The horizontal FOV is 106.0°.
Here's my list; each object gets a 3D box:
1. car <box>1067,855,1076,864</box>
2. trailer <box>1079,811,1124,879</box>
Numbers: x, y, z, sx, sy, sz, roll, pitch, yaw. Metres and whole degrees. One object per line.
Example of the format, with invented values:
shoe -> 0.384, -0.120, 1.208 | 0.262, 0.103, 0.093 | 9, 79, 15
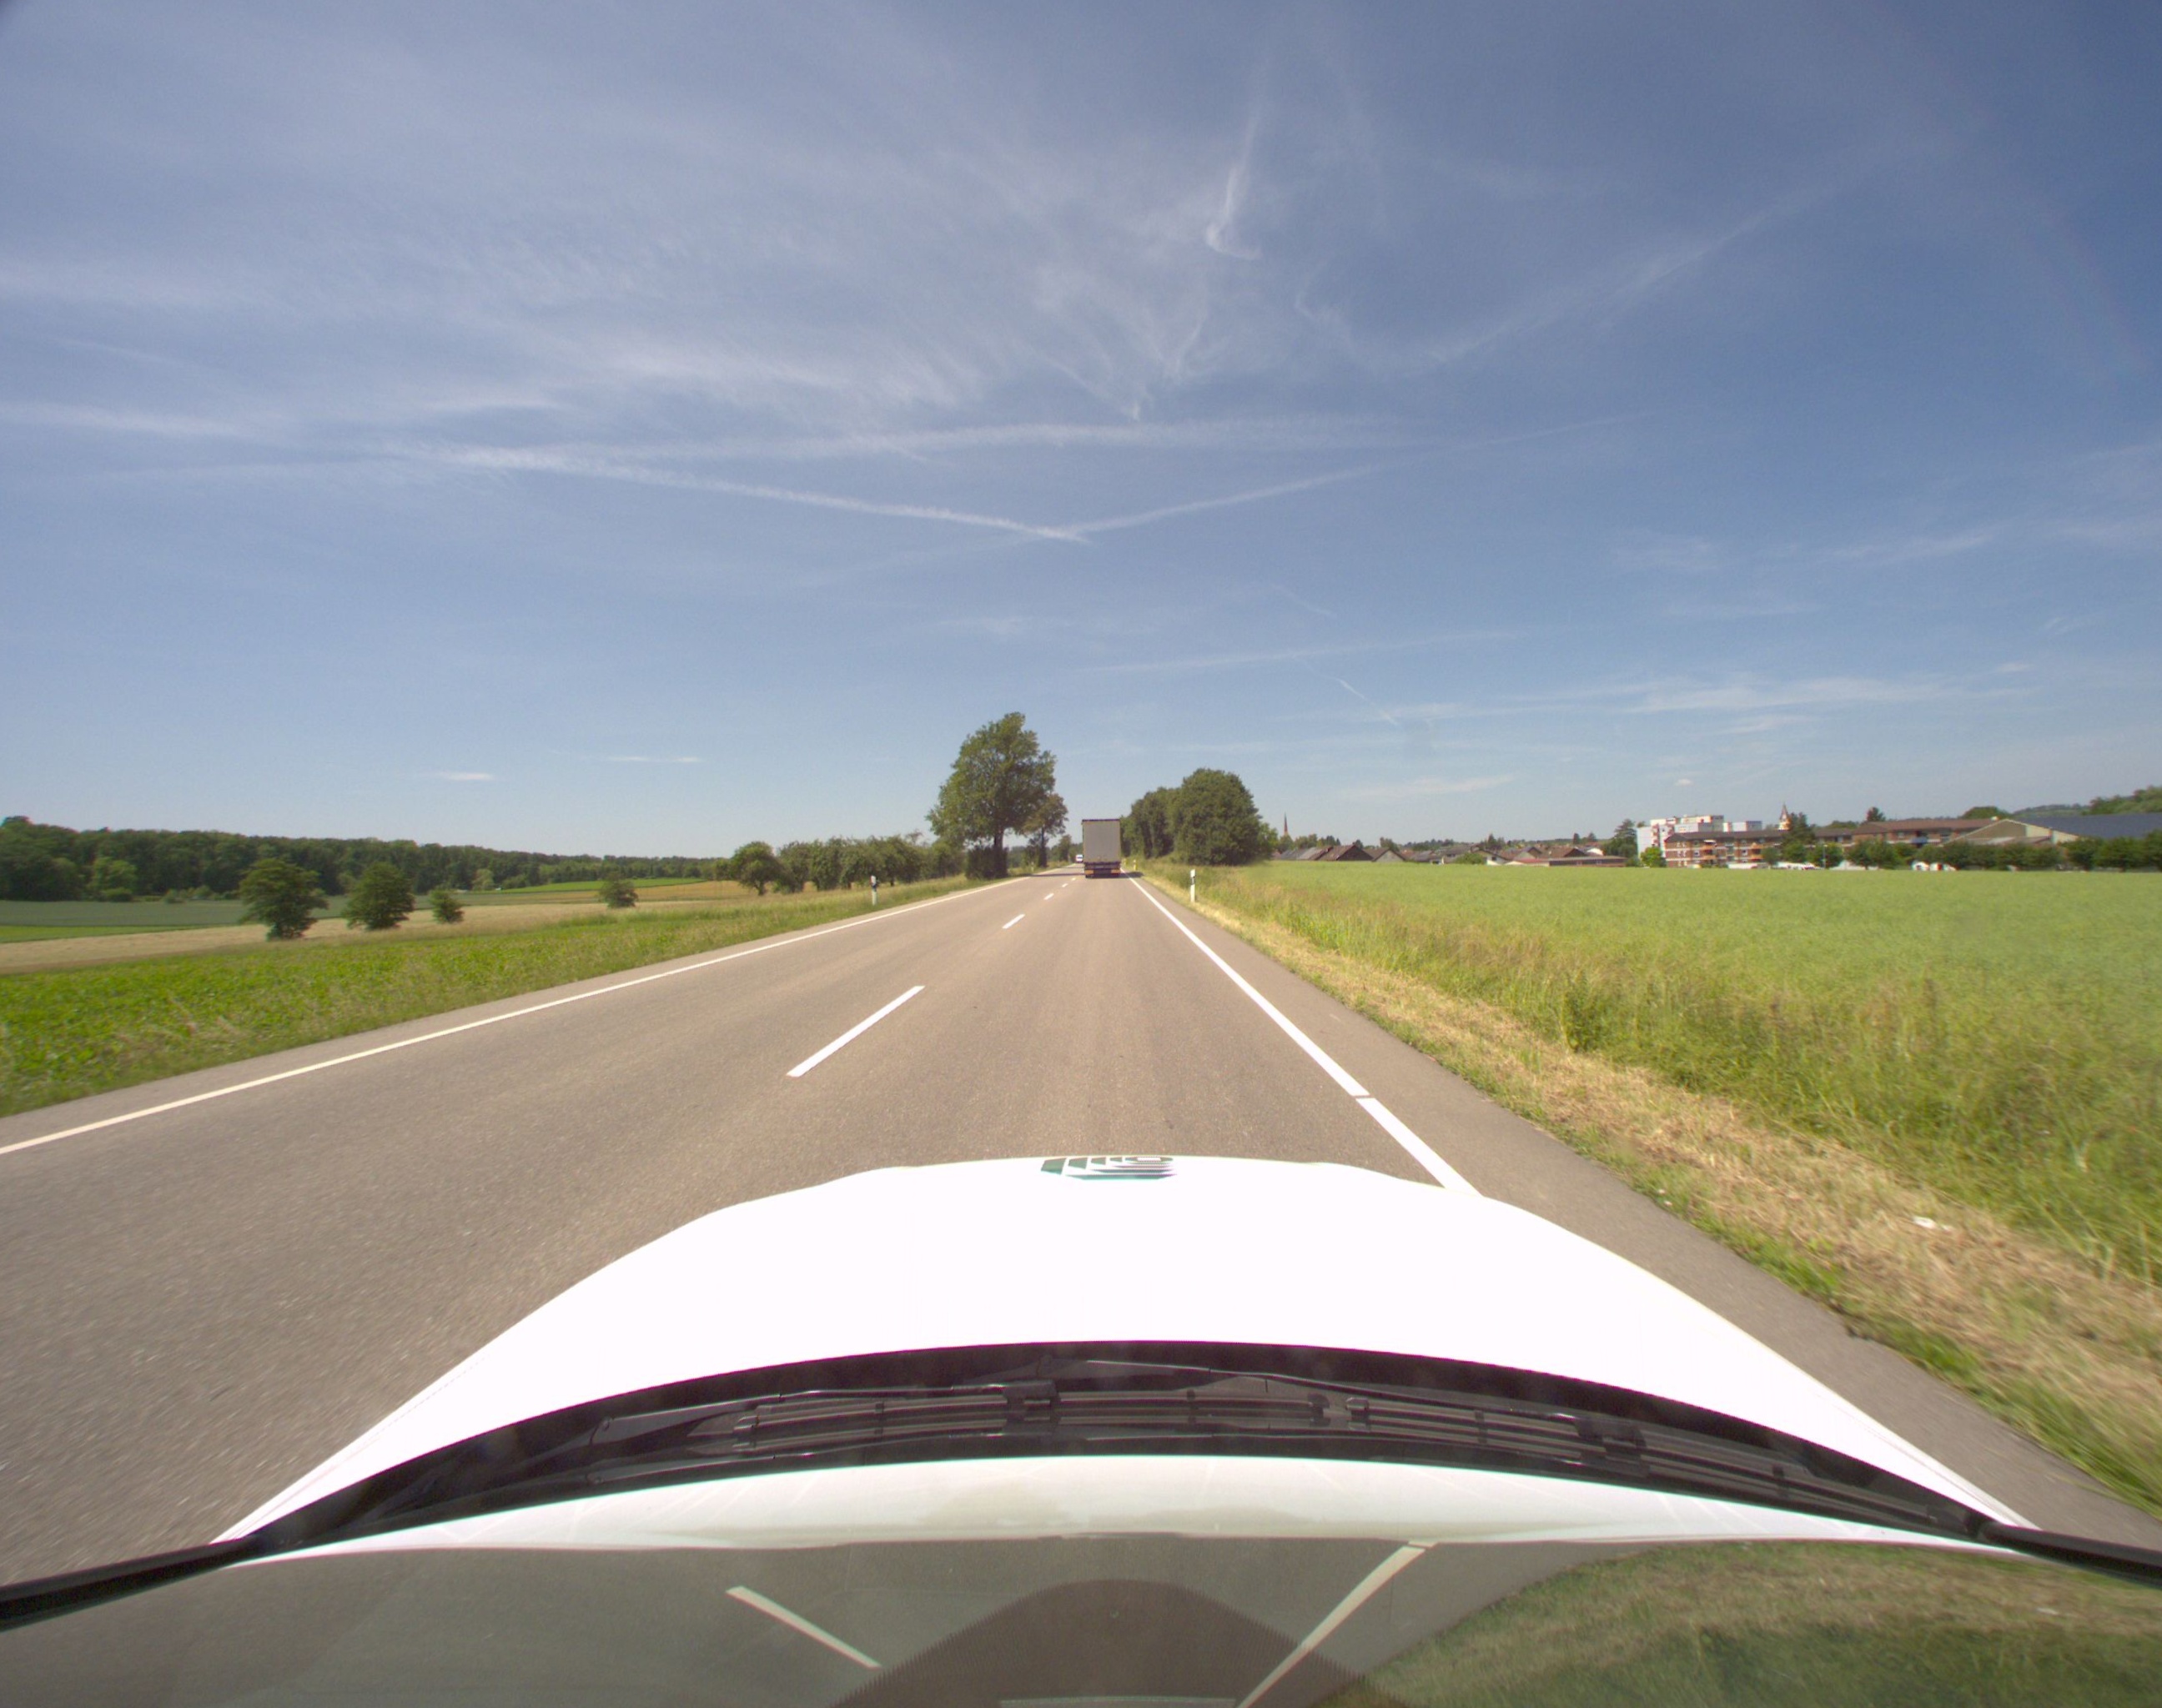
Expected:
car -> -2.095, 1.137, 178.562 | 1.867, 2.014, 4.073 | 0, 0, 0
trailer -> 1.514, -0.589, 60.695 | 2.857, 4.401, 13.495 | -2, 0, 1
